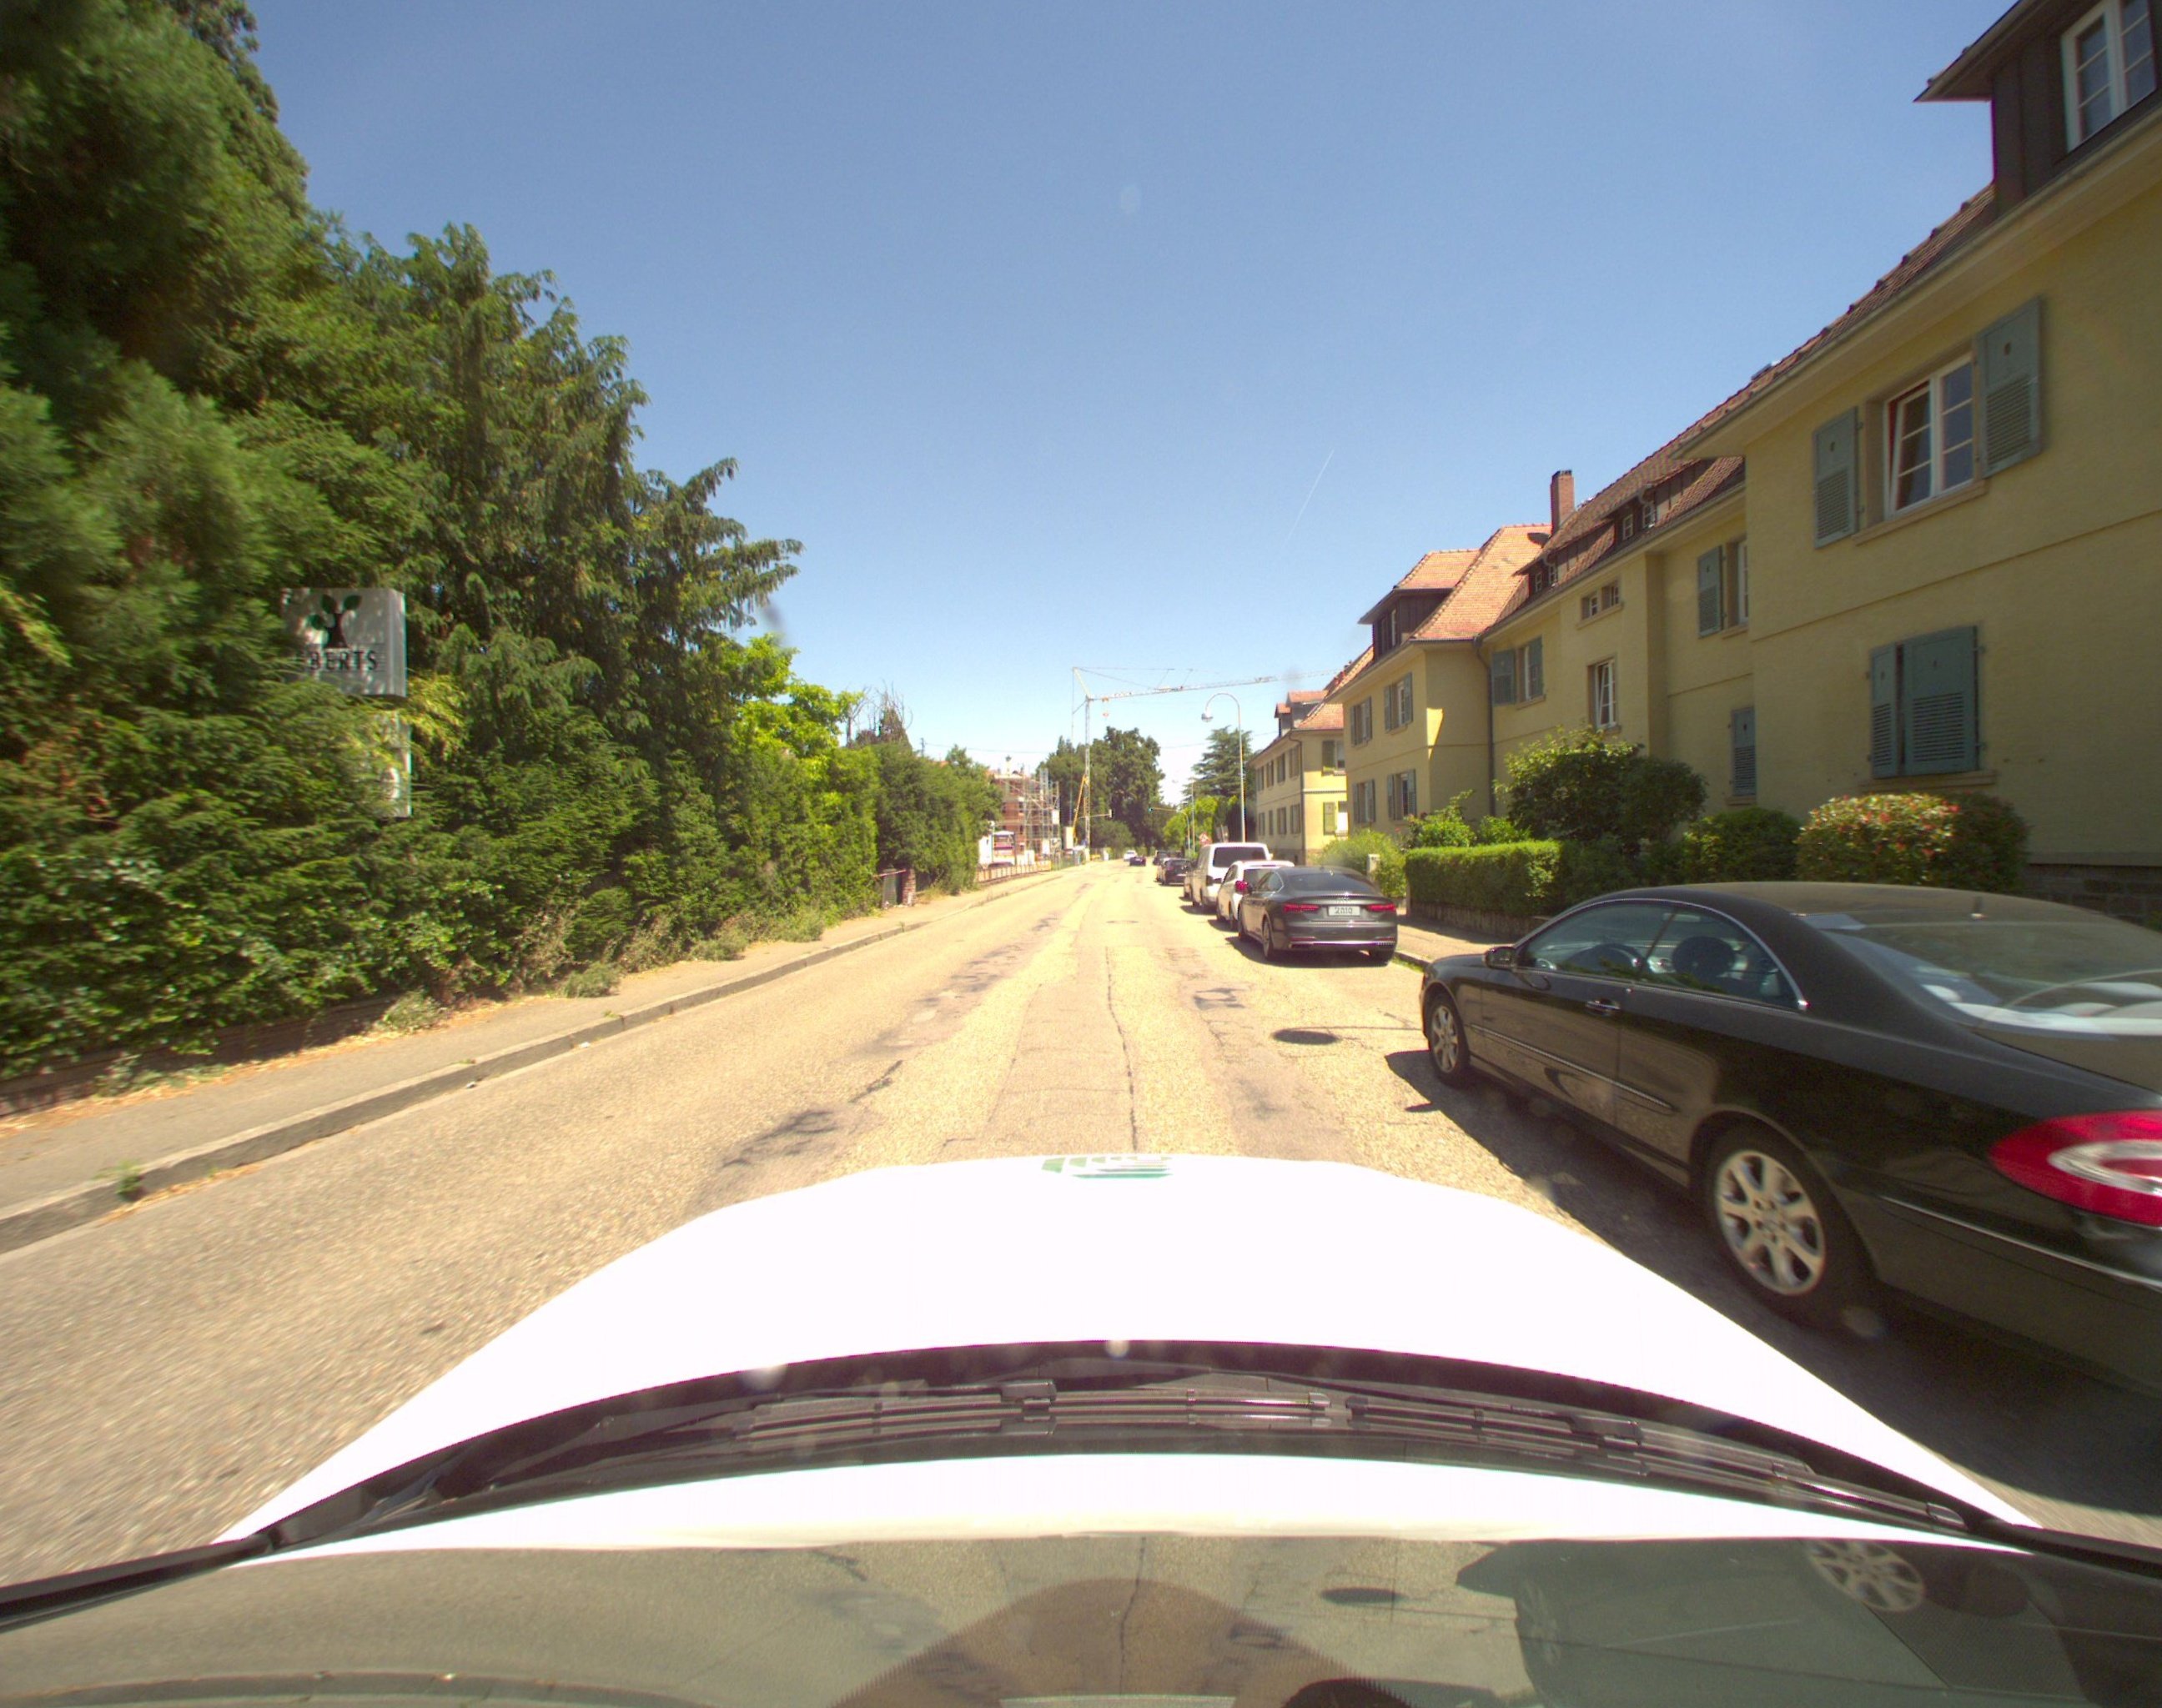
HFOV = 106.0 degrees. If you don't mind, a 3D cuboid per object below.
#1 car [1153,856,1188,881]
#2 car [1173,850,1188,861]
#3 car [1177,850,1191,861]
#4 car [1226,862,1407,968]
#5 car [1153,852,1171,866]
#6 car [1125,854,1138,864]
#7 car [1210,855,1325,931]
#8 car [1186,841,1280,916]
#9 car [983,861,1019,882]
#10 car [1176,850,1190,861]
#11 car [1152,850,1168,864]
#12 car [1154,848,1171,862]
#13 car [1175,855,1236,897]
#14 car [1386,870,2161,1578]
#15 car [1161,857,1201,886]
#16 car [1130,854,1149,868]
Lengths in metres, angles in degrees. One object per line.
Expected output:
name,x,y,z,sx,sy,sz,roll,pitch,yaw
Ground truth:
car,5.372,0.851,49.145,1.754,1.451,3.891,-1,0,2
car,15.316,0.217,125.101,1.981,1.662,4.011,-2,0,10
car,17.095,0.251,135.192,1.981,1.662,4.011,-2,0,10
car,3.592,0.844,13.334,1.754,1.371,4.609,-1,0,2
car,9.753,0.587,97.969,1.983,1.574,4.008,-2,0,7
car,7.838,0.768,125.184,1.752,1.451,3.846,-1,0,7
car,3.910,0.771,17.669,1.754,1.451,3.650,-1,0,2
car,4.258,0.647,23.501,1.986,1.901,4.825,1,0,2
car,-5.578,1.229,57.311,1.650,1.389,3.543,-2,0,9
car,16.249,0.226,129.998,1.981,1.662,4.011,-2,0,10
car,10.488,0.406,107.957,1.983,1.662,4.008,-2,0,7
car,10.234,0.189,102.523,1.983,1.662,4.008,-2,0,7
car,4.635,0.794,30.815,1.754,1.451,4.225,-1,0,2
car,3.126,0.819,3.978,1.686,1.419,4.553,-1,-1,2
car,5.308,0.896,43.469,1.754,1.451,3.841,-1,0,2
car,6.802,0.806,94.293,1.948,1.468,4.007,-2,0,6
